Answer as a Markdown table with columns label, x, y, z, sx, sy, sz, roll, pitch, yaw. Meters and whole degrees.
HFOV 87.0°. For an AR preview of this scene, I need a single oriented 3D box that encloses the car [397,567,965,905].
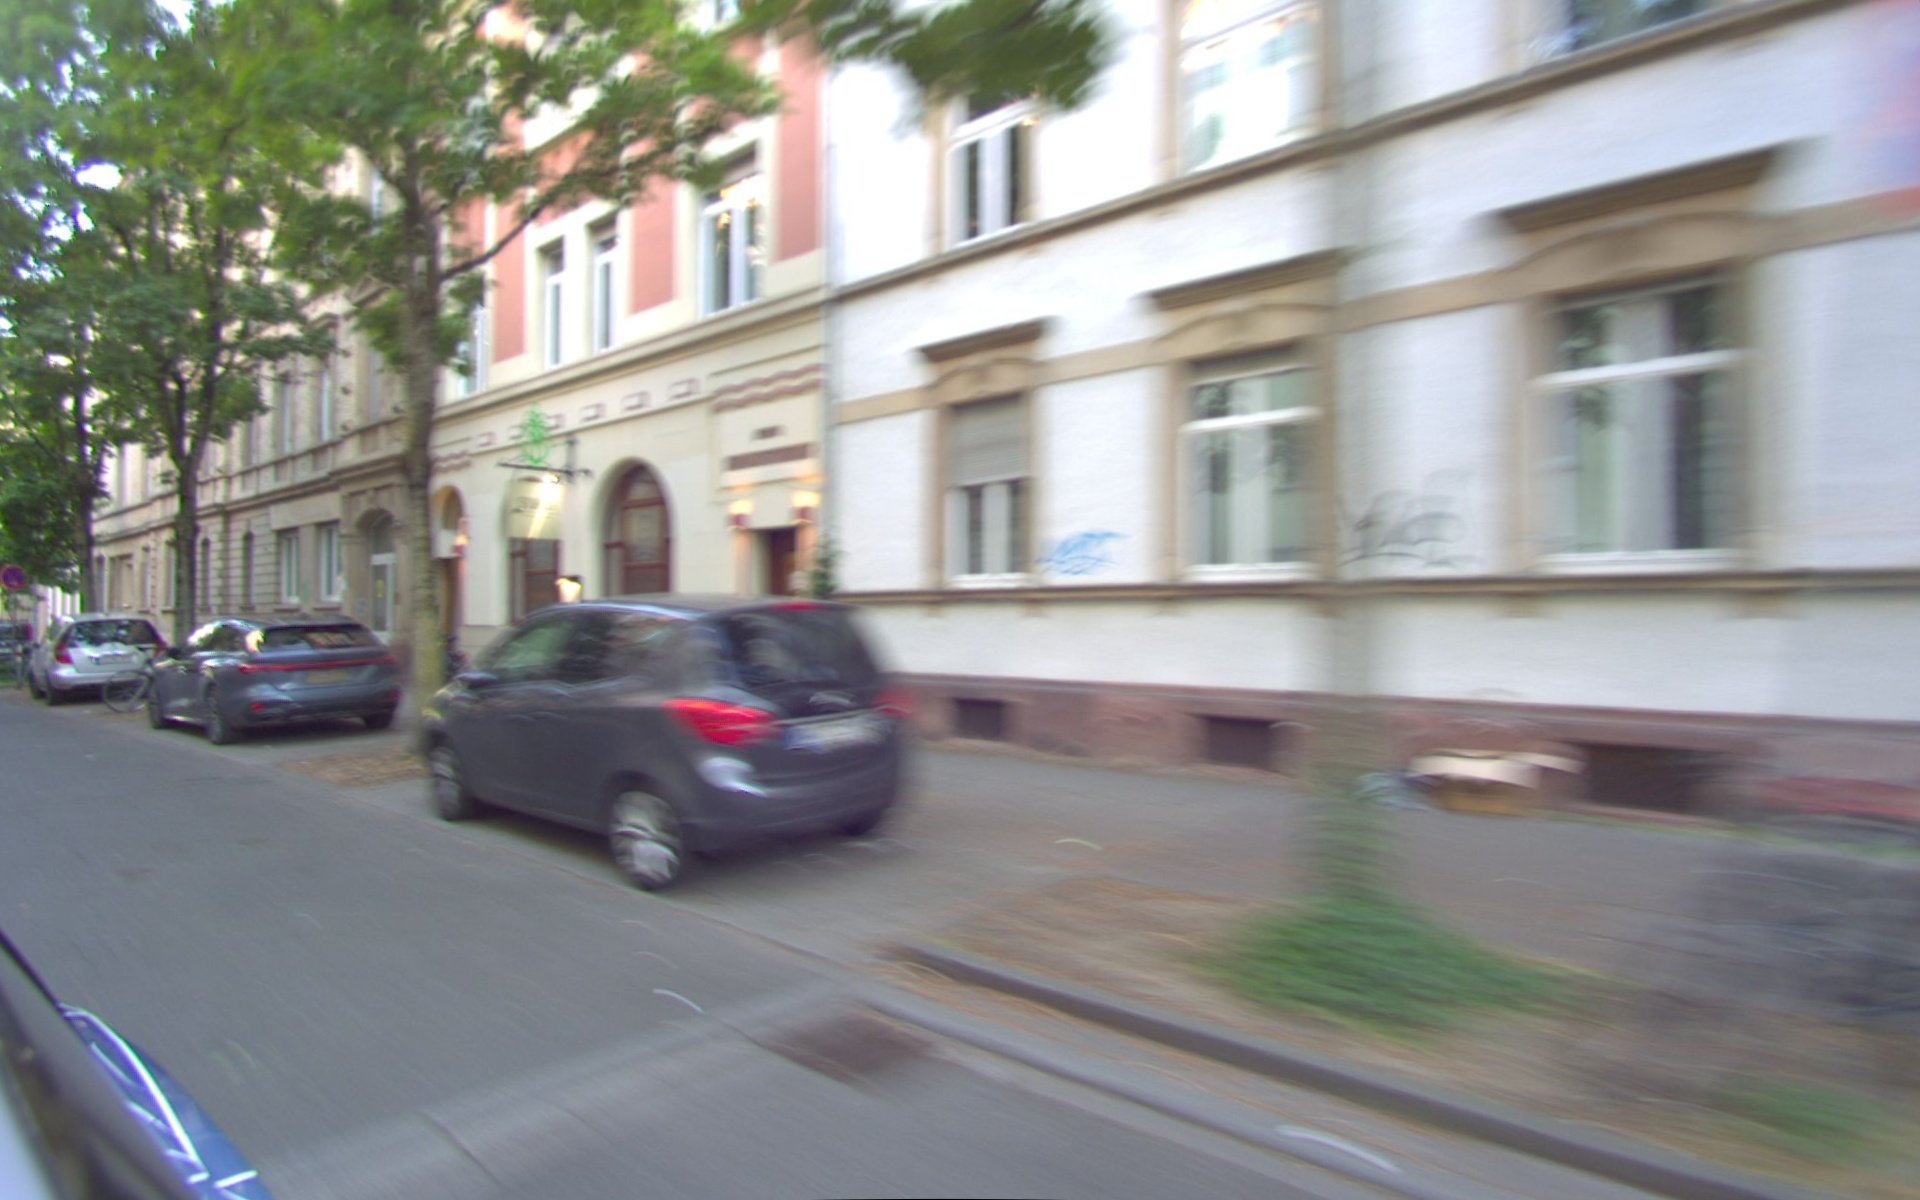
| label | x | y | z | sx | sy | sz | roll | pitch | yaw |
| --- | --- | --- | --- | --- | --- | --- | --- | --- | --- |
| car | -2.062 | 0.680 | 6.764 | 4.076 | 1.593 | 1.689 | -2 | -1 | 41 |

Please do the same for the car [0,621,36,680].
| label | x | y | z | sx | sy | sz | roll | pitch | yaw |
| --- | --- | --- | --- | --- | --- | --- | --- | --- | --- |
| car | -26.067 | 1.326 | 27.108 | 3.559 | 1.513 | 1.504 | -1 | 0 | 40 |

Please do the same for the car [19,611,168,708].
| label | x | y | z | sx | sy | sz | roll | pitch | yaw |
| --- | --- | --- | --- | --- | --- | --- | --- | --- | --- |
| car | -16.279 | 1.048 | 18.949 | 3.860 | 1.620 | 1.658 | -1 | -1 | 42 |

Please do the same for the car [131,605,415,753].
| label | x | y | z | sx | sy | sz | roll | pitch | yaw |
| --- | --- | --- | --- | --- | --- | --- | --- | --- | --- |
| car | -8.792 | 0.865 | 12.780 | 4.682 | 1.529 | 1.787 | -1 | 0 | 40 |

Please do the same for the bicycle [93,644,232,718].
| label | x | y | z | sx | sy | sz | roll | pitch | yaw |
| --- | --- | --- | --- | --- | --- | --- | --- | --- | --- |
| bicycle | -12.621 | 1.254 | 16.061 | 0.430 | 1.011 | 1.666 | -1 | 1 | 42 |

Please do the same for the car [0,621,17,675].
| label | x | y | z | sx | sy | sz | roll | pitch | yaw |
| --- | --- | --- | --- | --- | --- | --- | --- | --- | --- |
| car | -29.039 | 1.389 | 29.605 | 3.708 | 1.513 | 1.674 | -1 | 0 | 39 |

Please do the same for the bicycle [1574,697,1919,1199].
| label | x | y | z | sx | sy | sz | roll | pitch | yaw |
| --- | --- | --- | --- | --- | --- | --- | --- | --- | --- |
| bicycle | 2.661 | 0.832 | 2.613 | 1.799 | 1.093 | 0.669 | 0 | 0 | -7 |

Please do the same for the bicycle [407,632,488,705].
| label | x | y | z | sx | sy | sz | roll | pitch | yaw |
| --- | --- | --- | --- | --- | --- | --- | --- | --- | --- |
| bicycle | -8.253 | 1.079 | 16.281 | 1.794 | 1.106 | 0.521 | -1 | -2 | 41 |
